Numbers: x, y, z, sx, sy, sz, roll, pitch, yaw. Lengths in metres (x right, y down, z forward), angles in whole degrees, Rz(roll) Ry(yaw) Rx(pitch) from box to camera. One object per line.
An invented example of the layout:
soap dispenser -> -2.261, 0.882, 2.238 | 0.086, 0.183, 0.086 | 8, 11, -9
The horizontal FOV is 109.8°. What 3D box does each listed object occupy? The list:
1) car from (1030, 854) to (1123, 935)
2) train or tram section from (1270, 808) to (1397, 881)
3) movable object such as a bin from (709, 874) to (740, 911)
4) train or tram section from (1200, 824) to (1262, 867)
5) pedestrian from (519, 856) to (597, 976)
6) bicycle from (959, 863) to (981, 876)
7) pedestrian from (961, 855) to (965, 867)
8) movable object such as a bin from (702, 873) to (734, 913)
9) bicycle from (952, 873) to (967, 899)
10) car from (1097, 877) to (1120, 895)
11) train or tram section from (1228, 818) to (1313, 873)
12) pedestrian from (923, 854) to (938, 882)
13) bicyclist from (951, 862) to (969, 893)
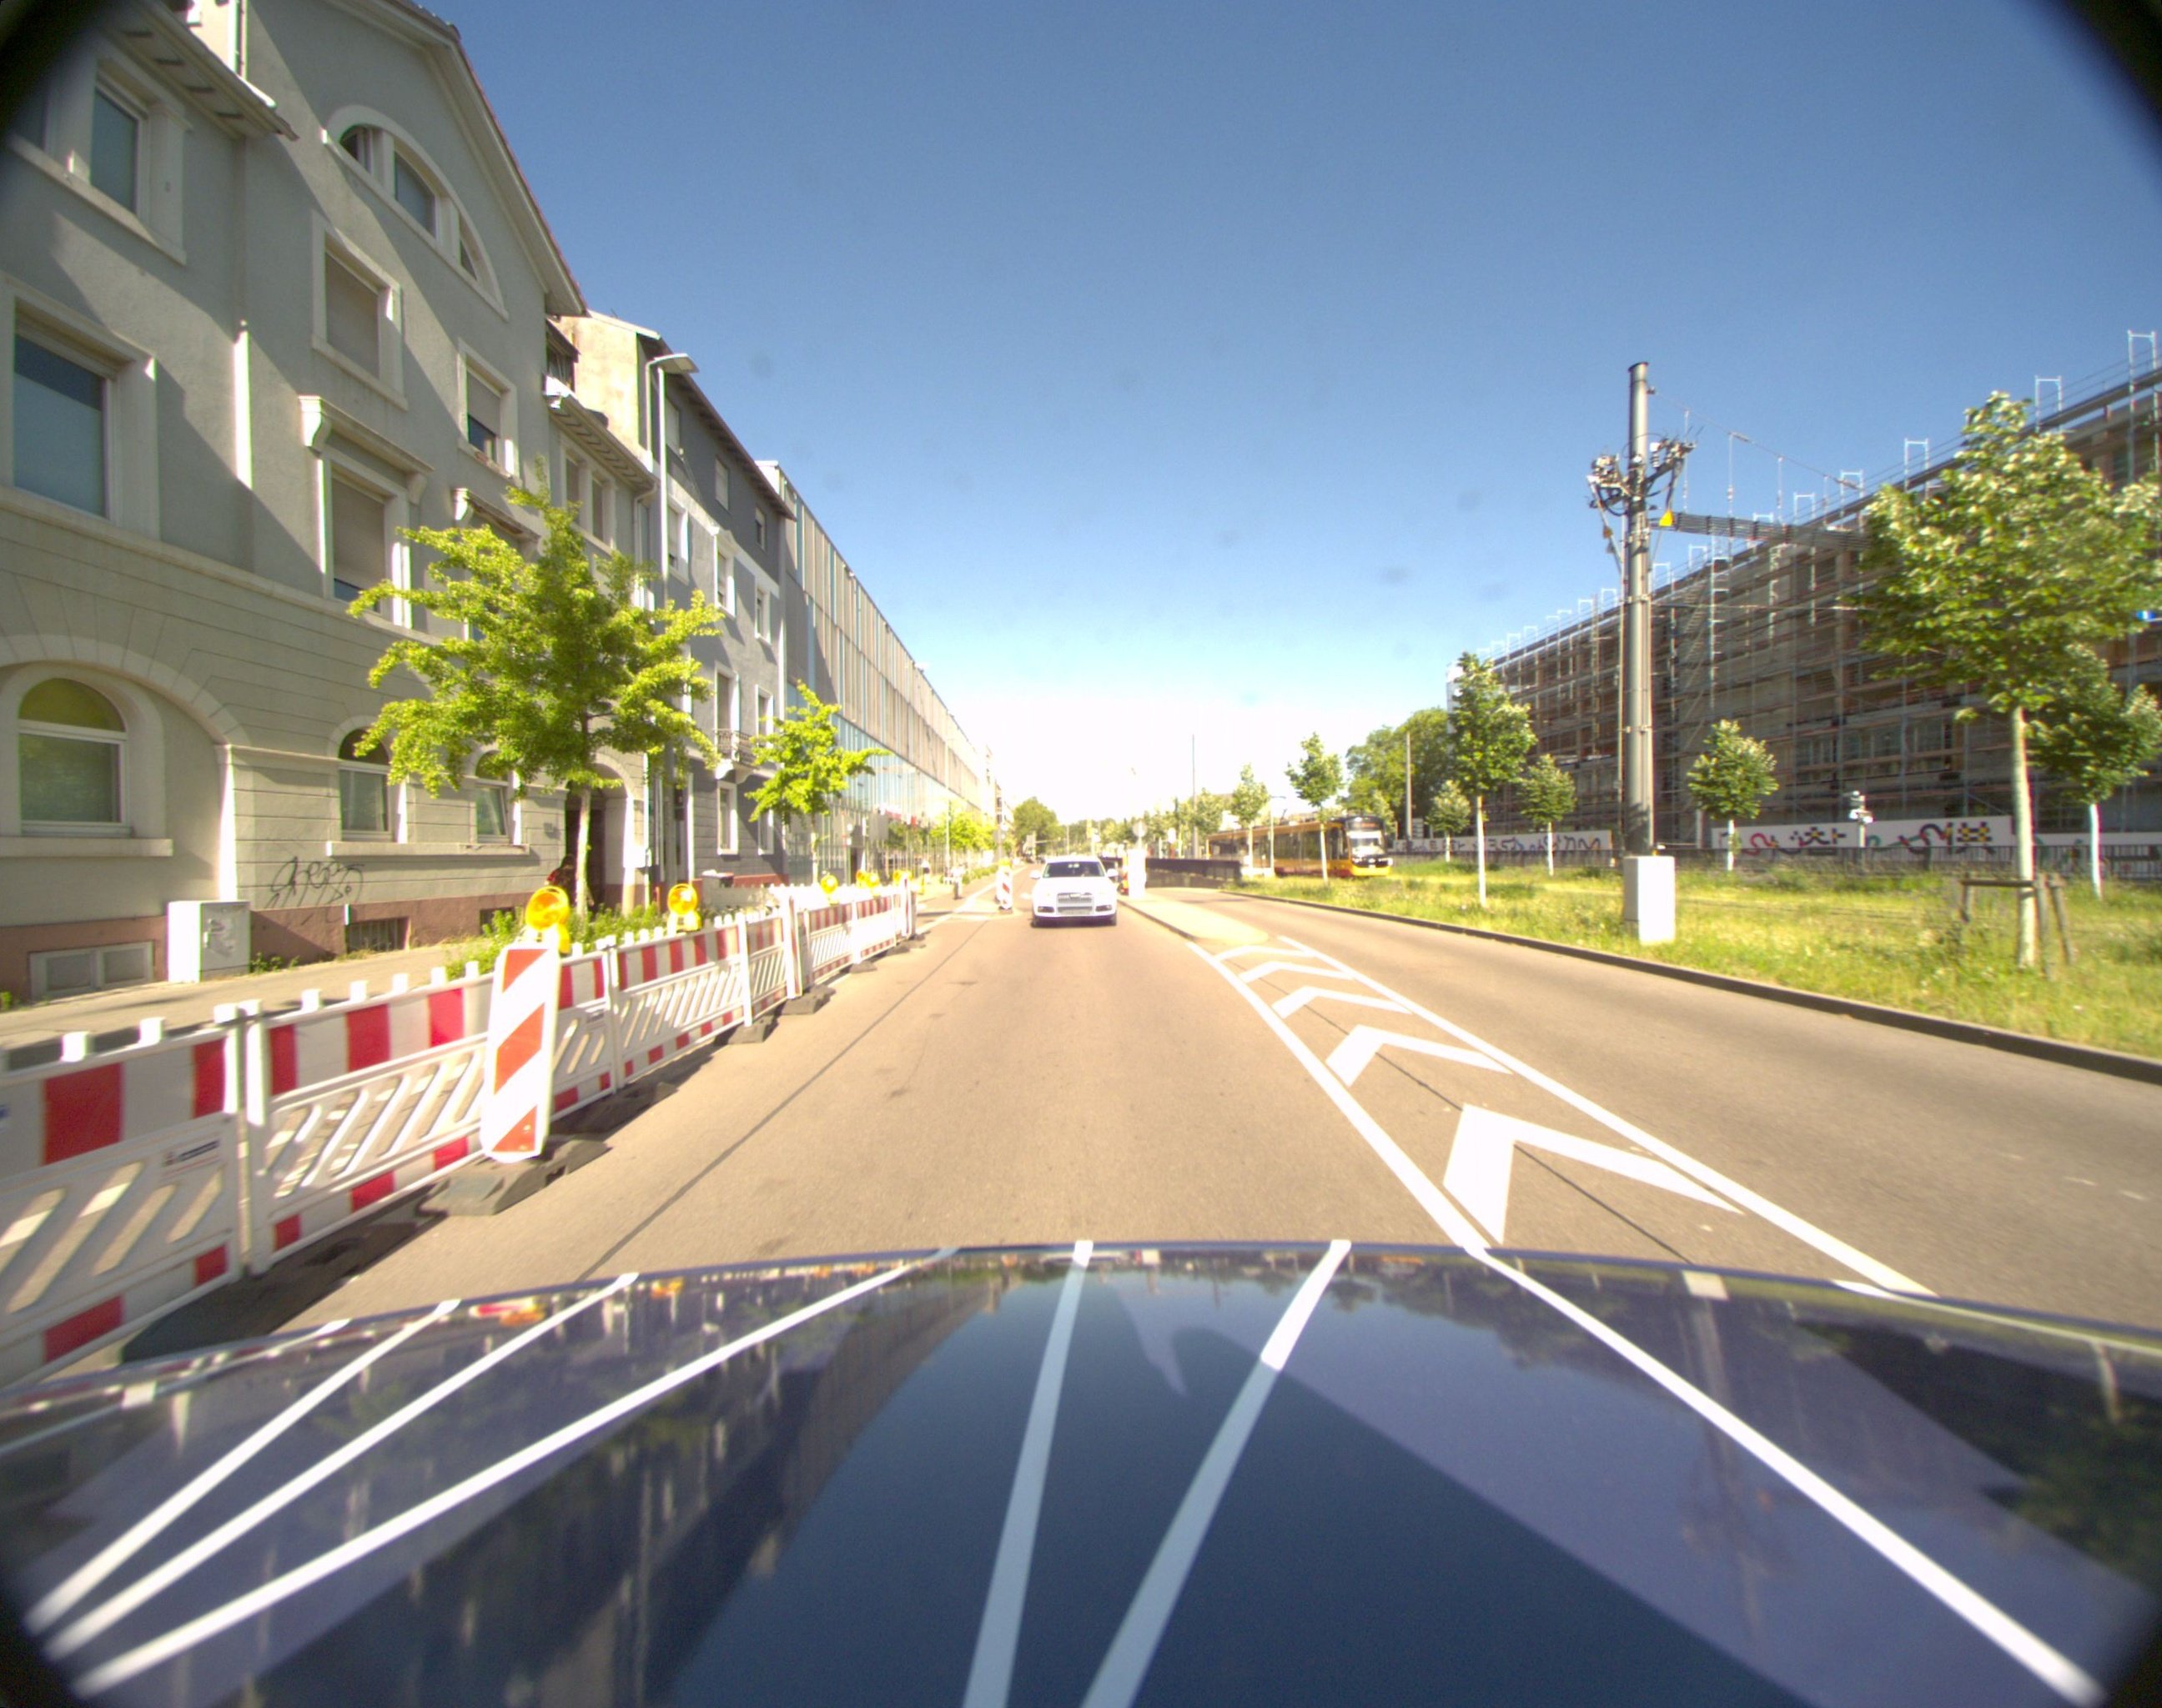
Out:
car -> -0.175, 0.871, 18.309 | 1.934, 1.624, 3.999 | -2, 0, -3
train or tram section -> 14.160, -0.537, 44.125 | 2.823, 3.617, 12.785 | -1, 1, -1
movable object such as a bin -> -10.914, 1.166, 23.265 | 0.604, 1.076, 0.703 | -2, 0, -1
train or tram section -> 13.493, -0.771, 69.715 | 2.823, 3.617, 12.785 | -1, 1, -1
pedestrian -> -8.729, 1.004, 12.722 | 0.796, 1.917, 0.769 | -2, 1, -15
bicycle -> -9.402, 1.340, 64.460 | 1.741, 1.056, 0.467 | 1, 0, -18
pedestrian -> -15.964, 0.942, 102.804 | 0.450, 1.591, 0.287 | -2, 1, -3
movable object such as a bin -> -10.725, 1.144, 22.454 | 0.590, 1.101, 0.703 | -2, 0, -1
bicycle -> -5.792, 1.515, 36.338 | 0.610, 1.144, 1.986 | -2, 1, -7
car -> 2.523, 2.922, 69.488 | 1.928, 1.435, 4.176 | -1, 0, 0
train or tram section -> 13.849, -0.656, 56.938 | 2.823, 3.617, 12.785 | -1, 1, -1
pedestrian -> -10.608, 0.993, 53.636 | 0.878, 1.914, 0.895 | 1, 3, -3
bicyclist -> -5.774, 1.126, 36.281 | 0.756, 1.454, 0.587 | -2, 2, -7
